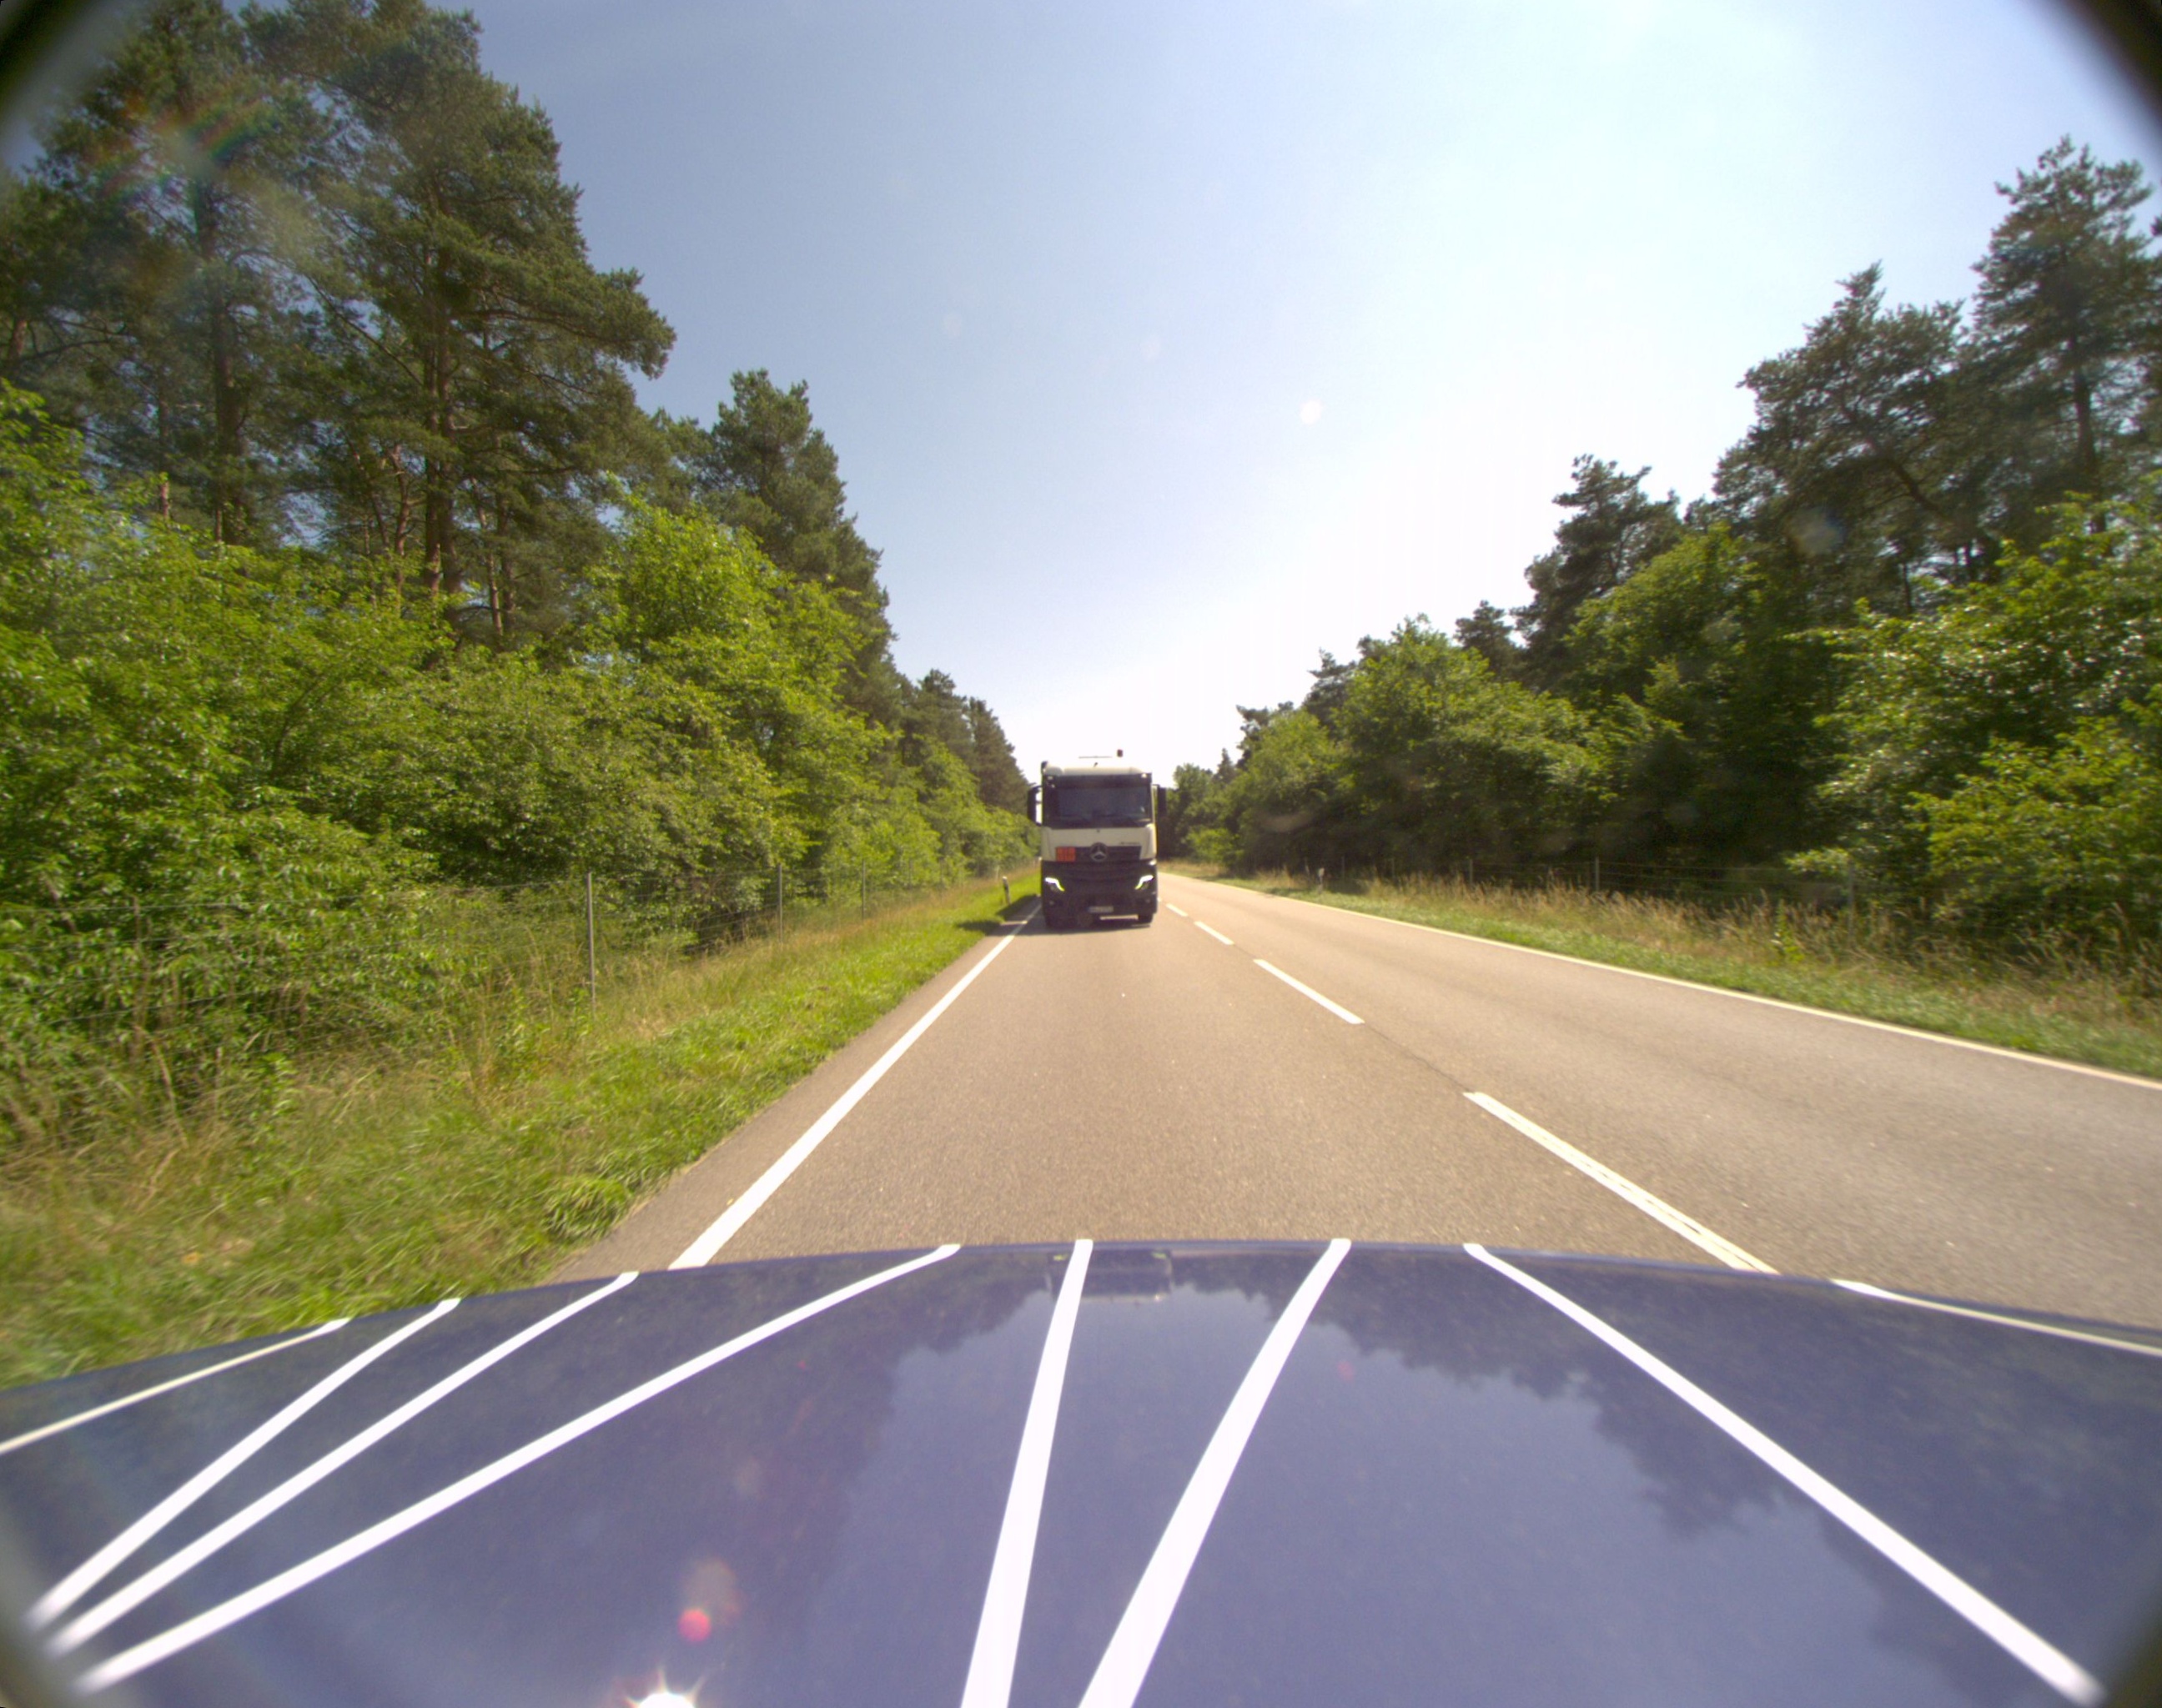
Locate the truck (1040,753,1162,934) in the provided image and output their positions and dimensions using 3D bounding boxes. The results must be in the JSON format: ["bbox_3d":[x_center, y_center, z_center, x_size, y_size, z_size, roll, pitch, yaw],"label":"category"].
[{"bbox_3d":[0.395,-0.204,18.725,2.435,3.672,6.456,-1,0,0],"label":"truck"}]

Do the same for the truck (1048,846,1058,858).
[{"bbox_3d":[-8.877,-0.564,237.263,2.495,3.619,6.099,-2,0,-7],"label":"truck"}]

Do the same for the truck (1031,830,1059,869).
[{"bbox_3d":[-3.554,-0.393,75.626,2.494,3.619,6.103,-2,0,-1],"label":"truck"}]
